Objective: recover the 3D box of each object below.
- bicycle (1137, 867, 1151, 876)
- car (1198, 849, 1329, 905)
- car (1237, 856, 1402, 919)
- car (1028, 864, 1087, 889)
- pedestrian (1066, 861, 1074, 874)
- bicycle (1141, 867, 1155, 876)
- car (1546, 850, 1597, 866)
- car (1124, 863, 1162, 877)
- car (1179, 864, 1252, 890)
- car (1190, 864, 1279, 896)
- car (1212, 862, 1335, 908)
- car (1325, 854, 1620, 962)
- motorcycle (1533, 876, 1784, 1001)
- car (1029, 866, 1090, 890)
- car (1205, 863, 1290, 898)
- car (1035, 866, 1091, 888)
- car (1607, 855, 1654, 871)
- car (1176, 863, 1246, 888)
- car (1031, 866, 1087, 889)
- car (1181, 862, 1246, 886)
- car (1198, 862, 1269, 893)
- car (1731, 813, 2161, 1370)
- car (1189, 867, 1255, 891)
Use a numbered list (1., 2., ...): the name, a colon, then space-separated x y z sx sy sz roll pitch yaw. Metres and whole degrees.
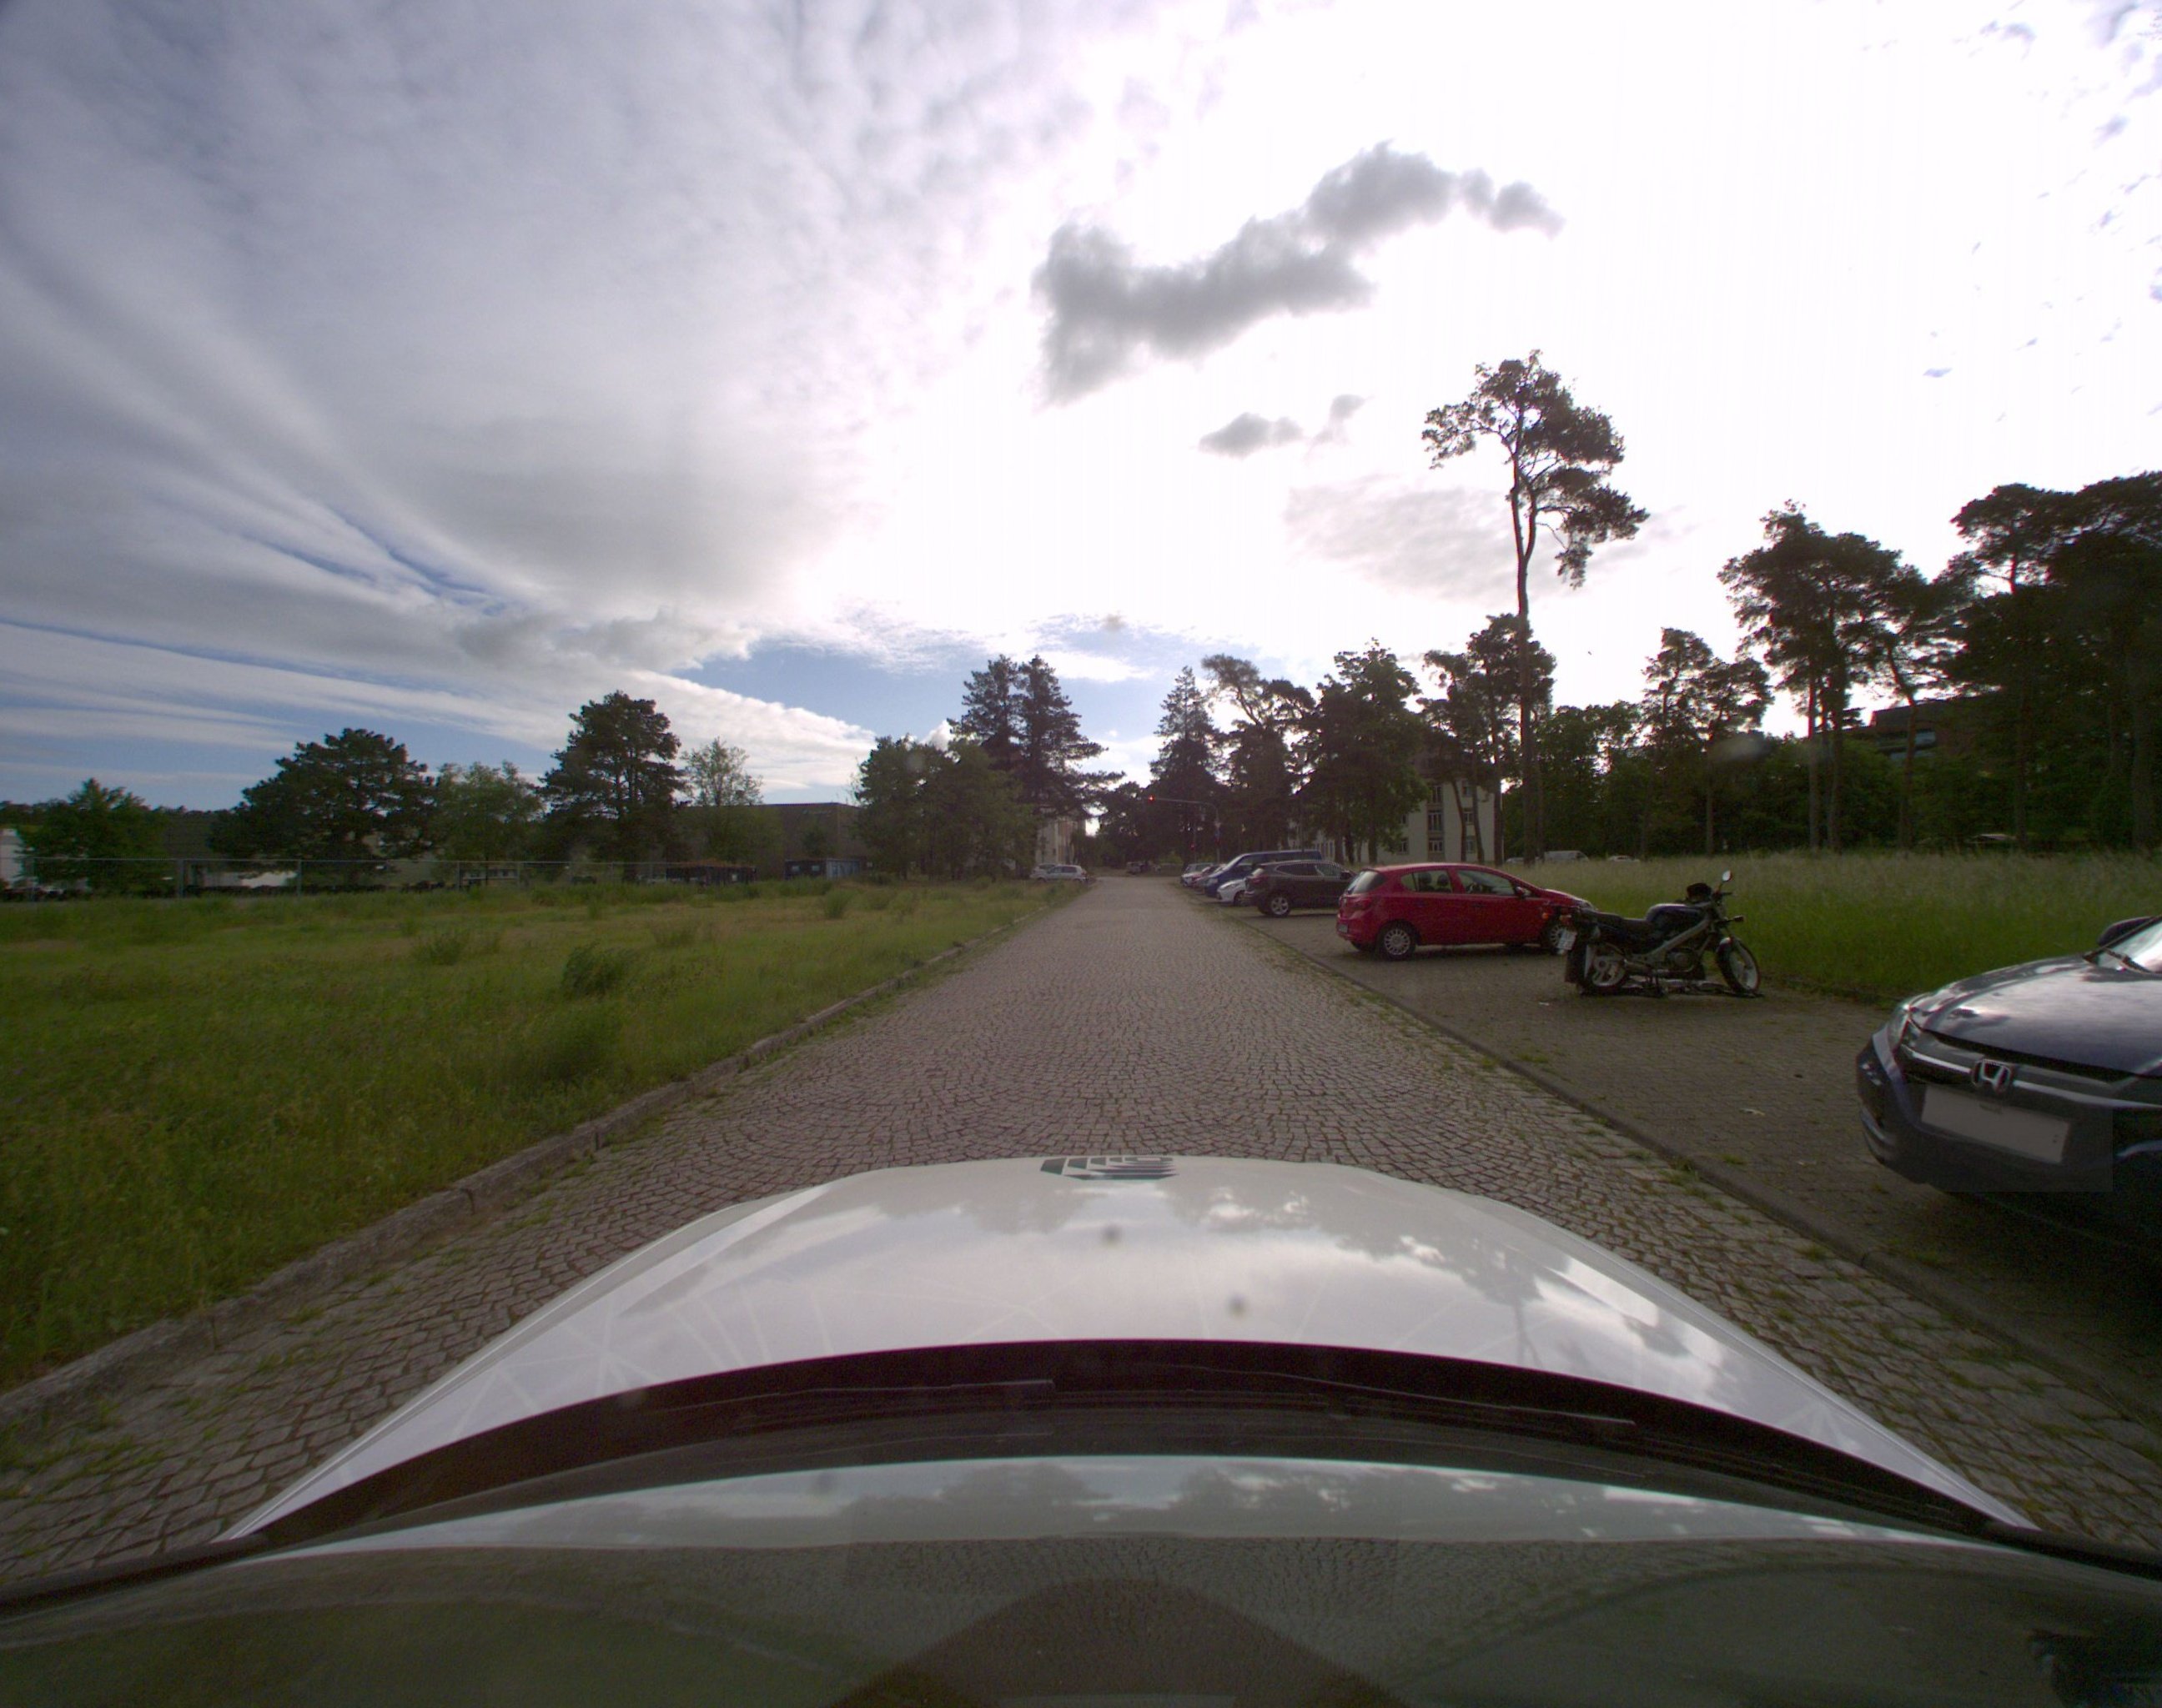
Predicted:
1. bicycle: 8.607 2.443 111.860 1.876 1.171 0.664 0 -1 -2
2. car: 7.178 0.892 32.429 4.778 2.004 1.967 -2 -1 1
3. car: 6.789 0.930 23.526 4.188 1.595 1.953 -2 -1 1
4. car: -1.778 1.686 61.156 4.287 1.732 1.651 -2 -1 -2
5. pedestrian: -1.676 2.068 121.441 1.070 1.959 1.122 0 -1 3
6. bicycle: 8.885 2.379 108.341 1.876 1.171 0.664 0 -1 -2
7. car: 64.041 0.558 106.427 5.276 2.020 2.108 0 -1 4
8. car: 9.407 2.422 123.153 5.374 2.101 2.172 -1 -1 -9
9. car: 8.334 1.406 50.814 4.177 1.437 1.753 -2 -1 -4
10. car: 7.609 1.288 40.632 4.112 1.447 1.767 -2 -1 3
11. car: 6.998 1.122 29.884 4.084 1.479 1.721 -2 -1 0
12. car: 6.183 0.835 13.230 3.908 1.496 1.785 -2 -1 1
13. motorcycle: 6.136 0.880 8.727 2.222 1.202 0.568 -2 -1 1
14. car: -1.526 1.710 58.331 4.287 1.554 1.810 -2 -1 -3
15. car: 7.657 1.209 37.719 3.638 1.479 1.767 -2 -1 3
16. car: -1.430 1.803 63.596 4.287 1.554 1.810 -2 -1 -3
17. car: 64.517 1.057 95.634 4.113 1.804 1.902 0 -1 5
18. car: 8.529 1.384 53.577 4.225 1.479 1.705 -2 -1 -8
19. car: -1.463 1.580 55.727 3.708 1.481 1.673 1 -1 0
20. car: 9.095 1.356 56.107 4.124 1.463 1.632 -2 -1 -2
21. car: 8.092 1.248 43.482 3.491 1.487 1.744 -2 -1 3
22. car: 5.263 0.626 2.953 4.229 1.623 1.887 -2 -1 1
23. car: 7.942 1.402 46.119 3.570 1.223 1.630 -2 -1 4
